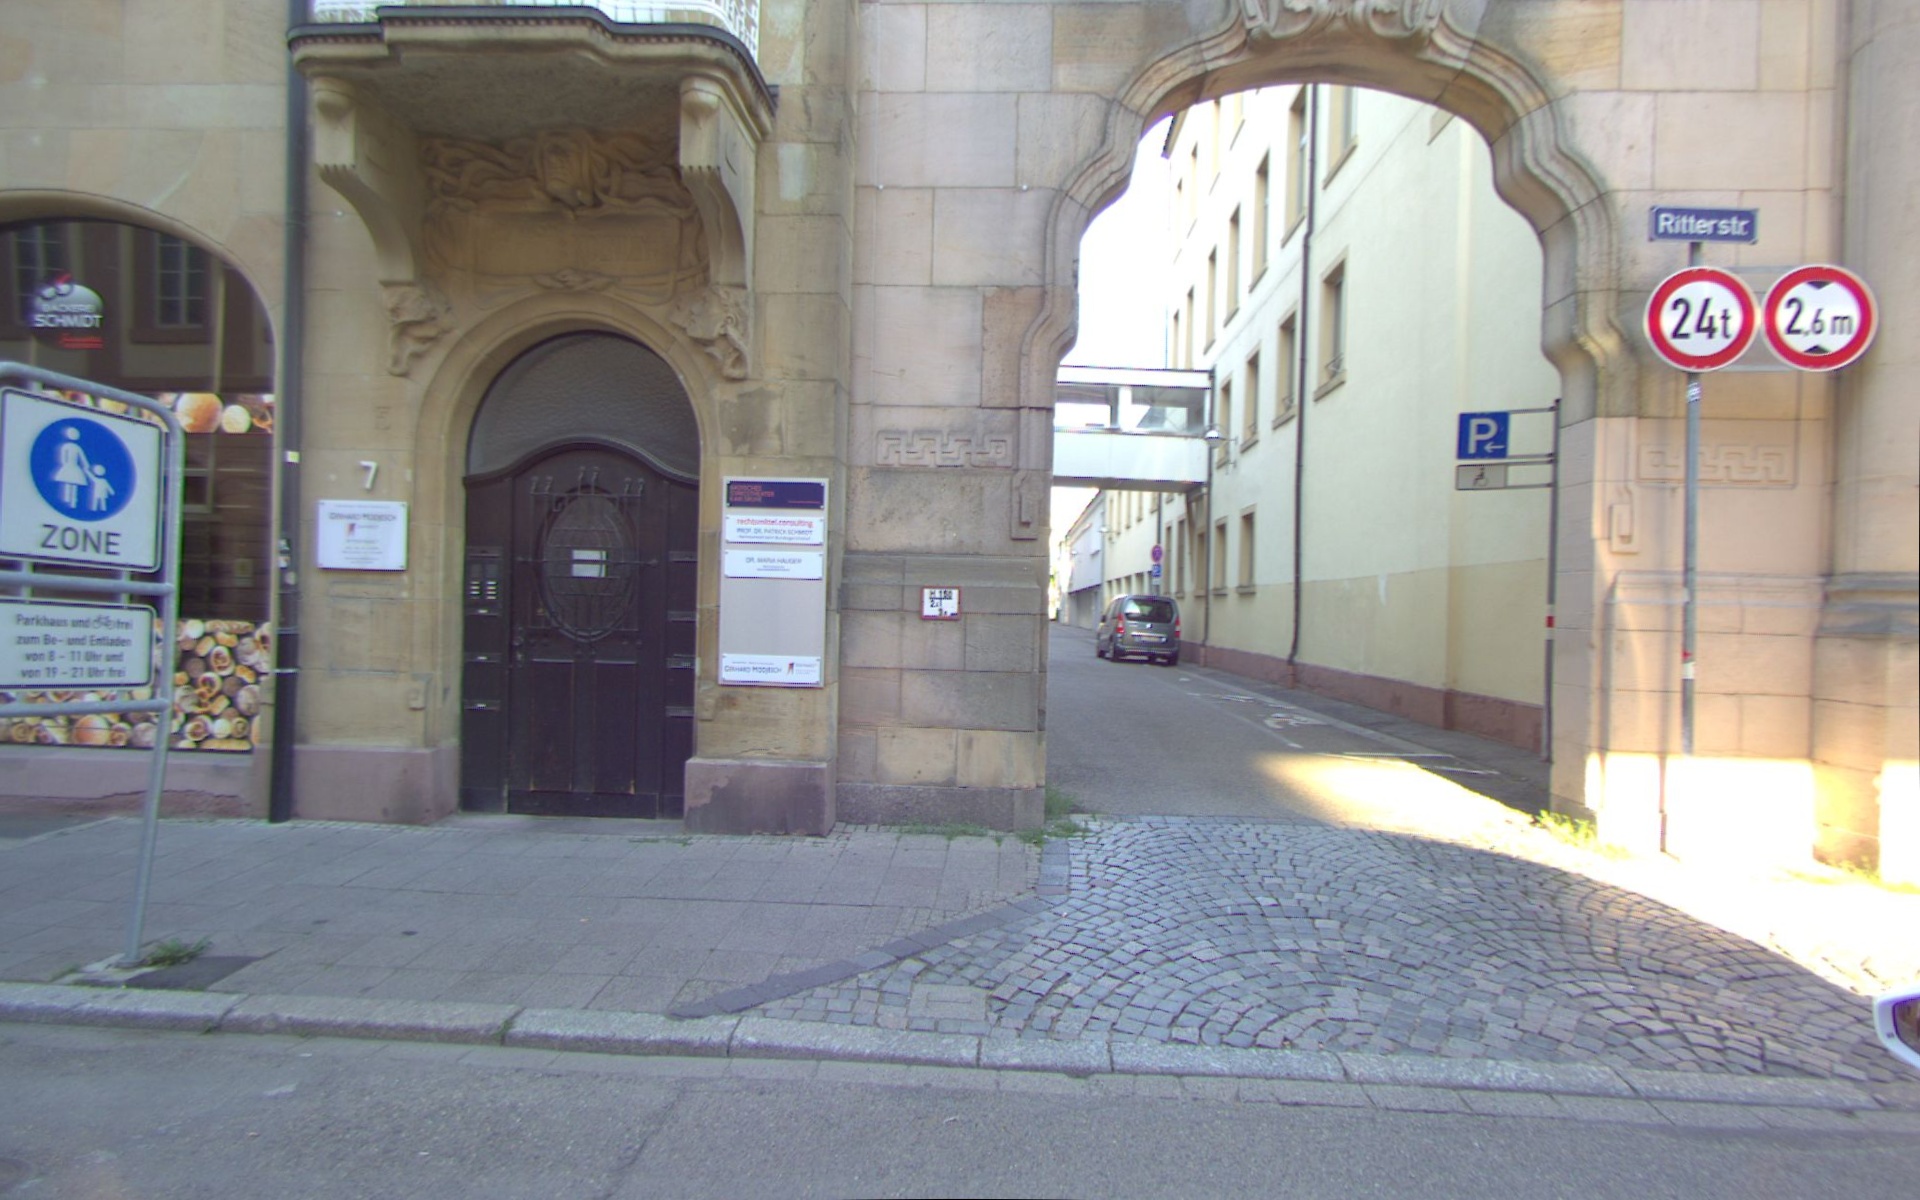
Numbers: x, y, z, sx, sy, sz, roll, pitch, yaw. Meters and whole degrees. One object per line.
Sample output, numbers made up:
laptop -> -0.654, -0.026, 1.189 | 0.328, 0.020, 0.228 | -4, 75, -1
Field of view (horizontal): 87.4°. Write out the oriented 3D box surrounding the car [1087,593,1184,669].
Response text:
car -> 4.746, 0.788, 27.694 | 1.825, 1.779, 4.162 | 5, 0, 0
